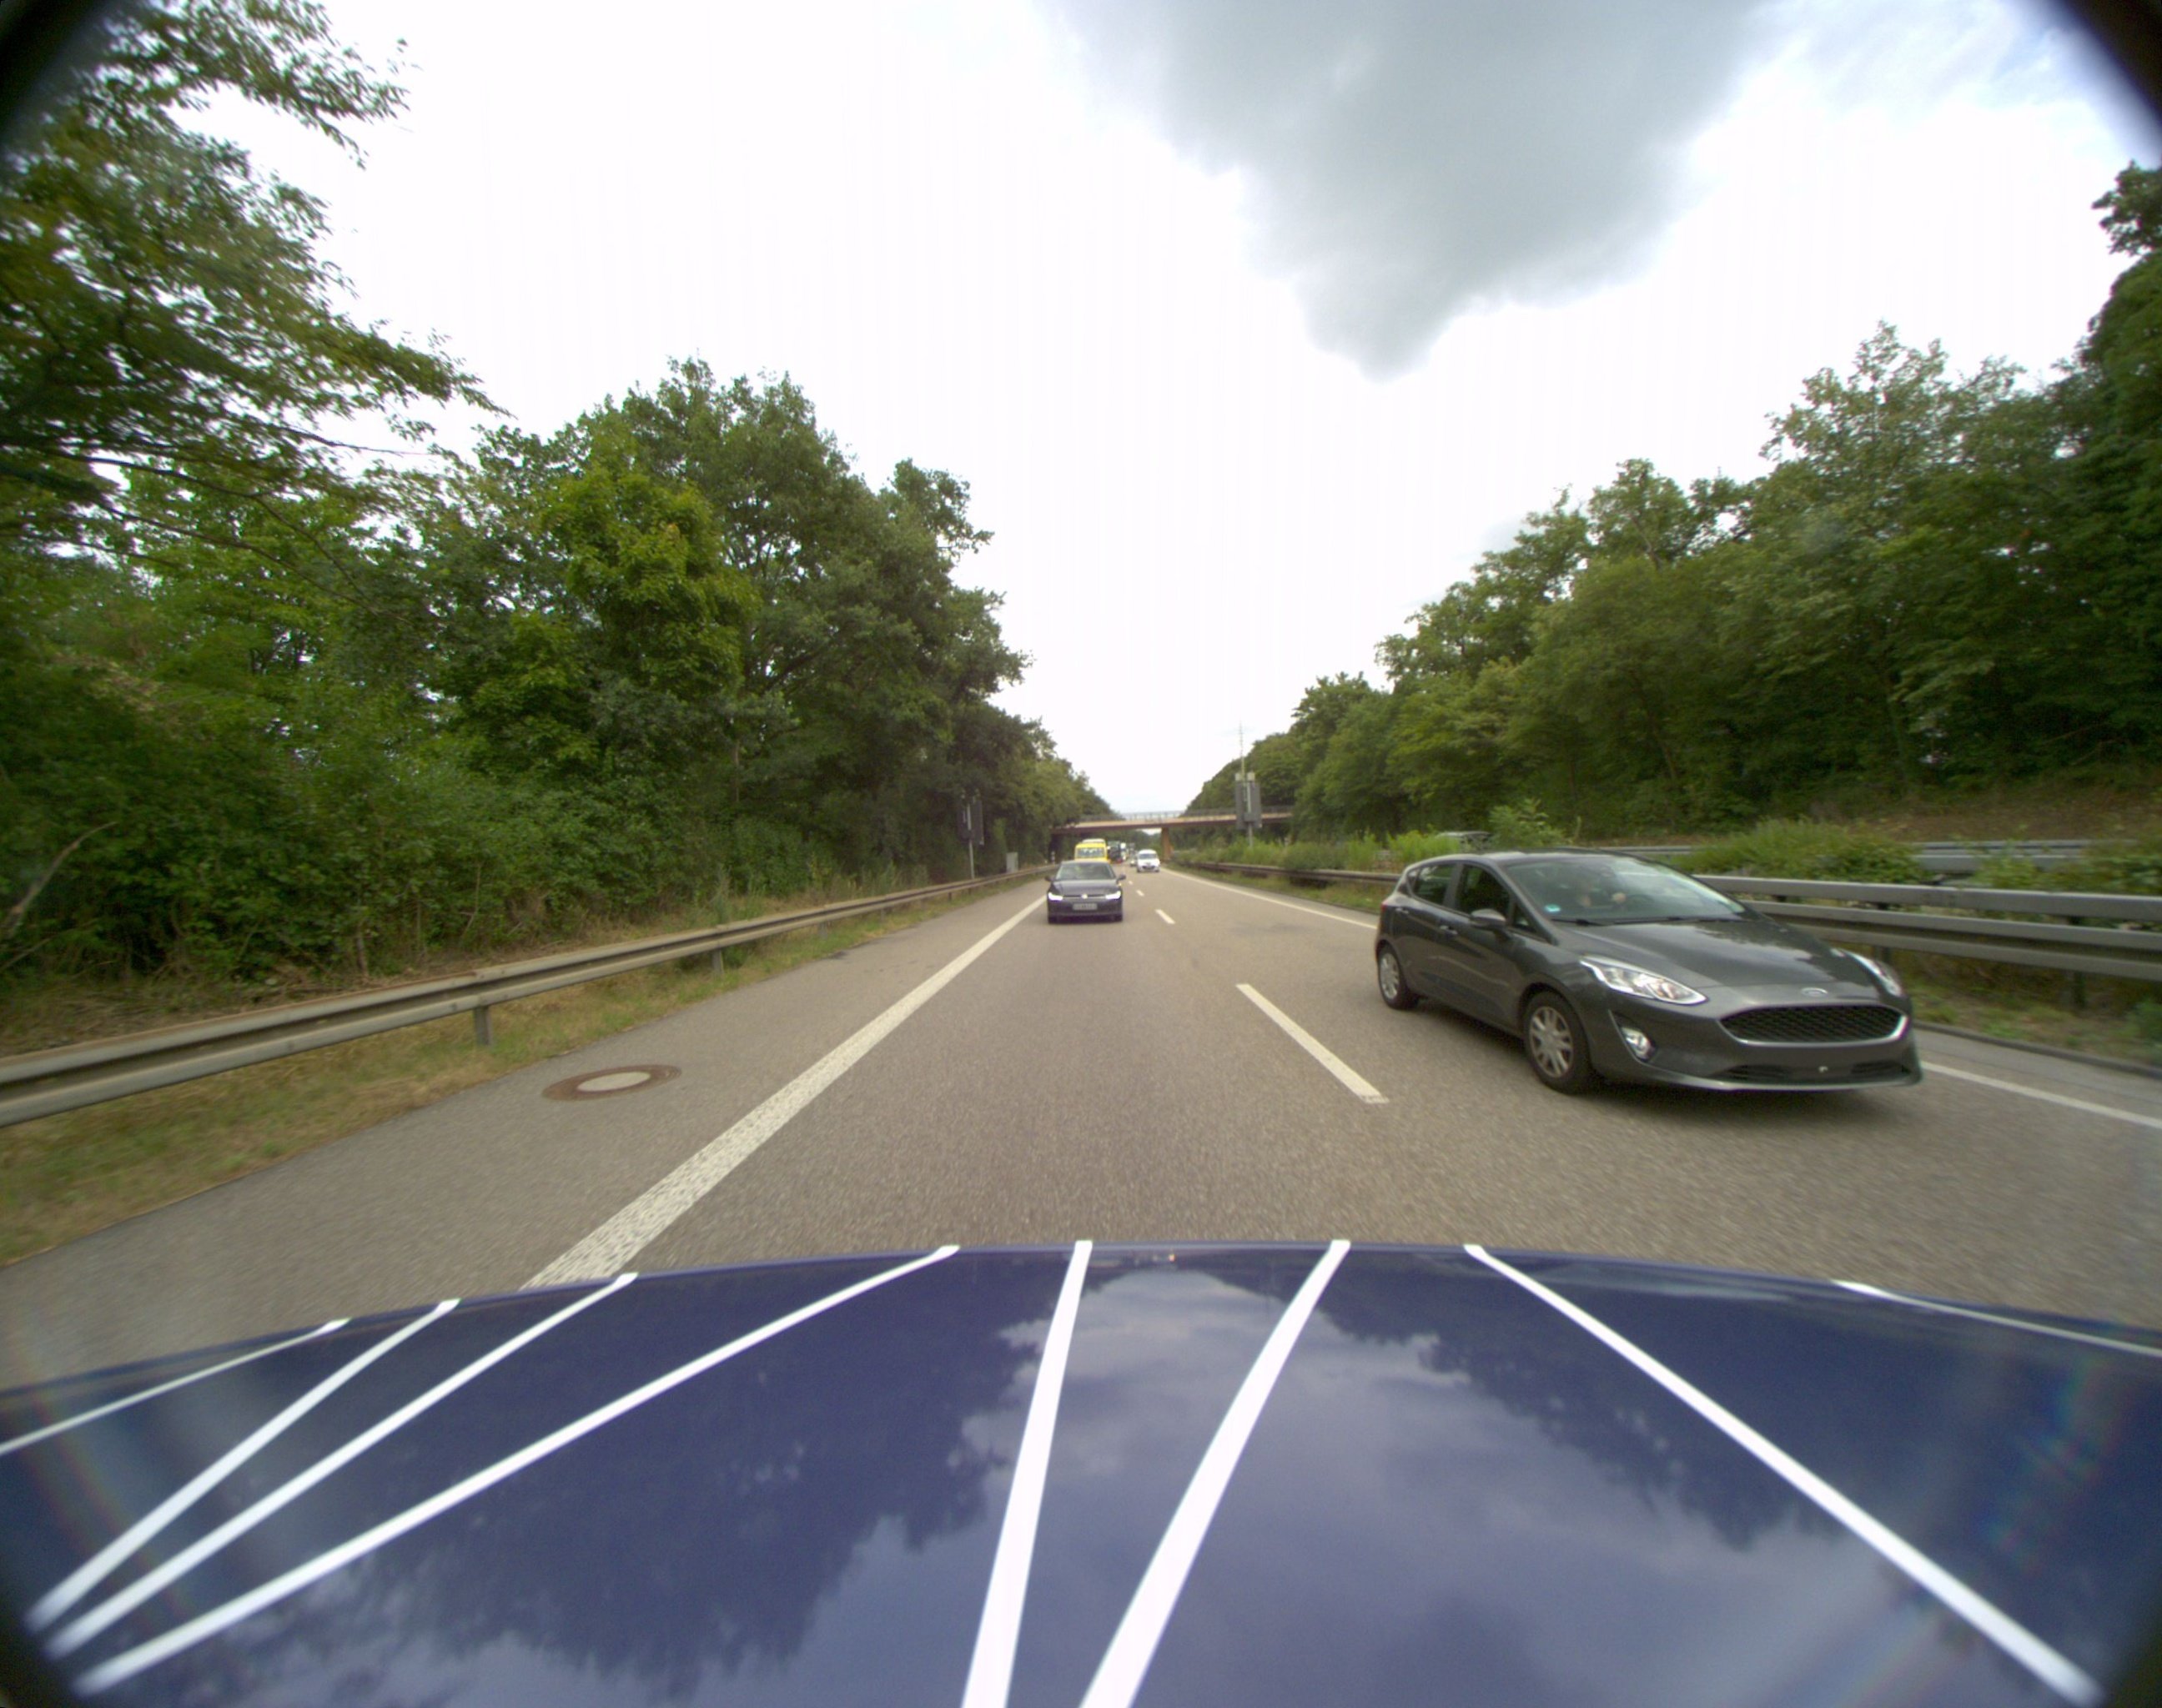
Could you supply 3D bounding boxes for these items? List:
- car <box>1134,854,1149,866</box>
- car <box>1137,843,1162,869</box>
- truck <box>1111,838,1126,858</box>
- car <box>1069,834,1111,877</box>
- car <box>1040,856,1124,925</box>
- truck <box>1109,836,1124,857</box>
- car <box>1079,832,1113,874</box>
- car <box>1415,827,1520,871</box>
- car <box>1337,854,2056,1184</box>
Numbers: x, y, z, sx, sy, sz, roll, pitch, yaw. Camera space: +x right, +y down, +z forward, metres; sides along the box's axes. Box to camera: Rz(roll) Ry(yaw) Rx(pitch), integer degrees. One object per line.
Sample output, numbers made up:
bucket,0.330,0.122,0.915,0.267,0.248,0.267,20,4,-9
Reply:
car,7.461,0.713,94.287,1.772,1.416,4.199,-2,1,3
car,5.701,0.135,63.503,1.821,1.993,4.424,-2,1,3
truck,8.806,-1.372,177.061,3.099,4.462,12.210,-2,1,3
car,0.556,0.078,45.215,2.247,2.334,5.224,-2,1,1
car,0.137,0.811,18.896,1.800,1.398,4.640,-2,1,3
truck,6.392,-1.282,135.211,2.548,3.564,6.457,-2,1,3
car,1.066,-0.109,53.952,2.207,2.732,6.167,-2,1,1
car,15.899,-0.220,31.556,1.998,1.648,4.773,-2,1,2
car,3.645,0.772,5.855,1.831,1.449,4.639,-2,1,1
